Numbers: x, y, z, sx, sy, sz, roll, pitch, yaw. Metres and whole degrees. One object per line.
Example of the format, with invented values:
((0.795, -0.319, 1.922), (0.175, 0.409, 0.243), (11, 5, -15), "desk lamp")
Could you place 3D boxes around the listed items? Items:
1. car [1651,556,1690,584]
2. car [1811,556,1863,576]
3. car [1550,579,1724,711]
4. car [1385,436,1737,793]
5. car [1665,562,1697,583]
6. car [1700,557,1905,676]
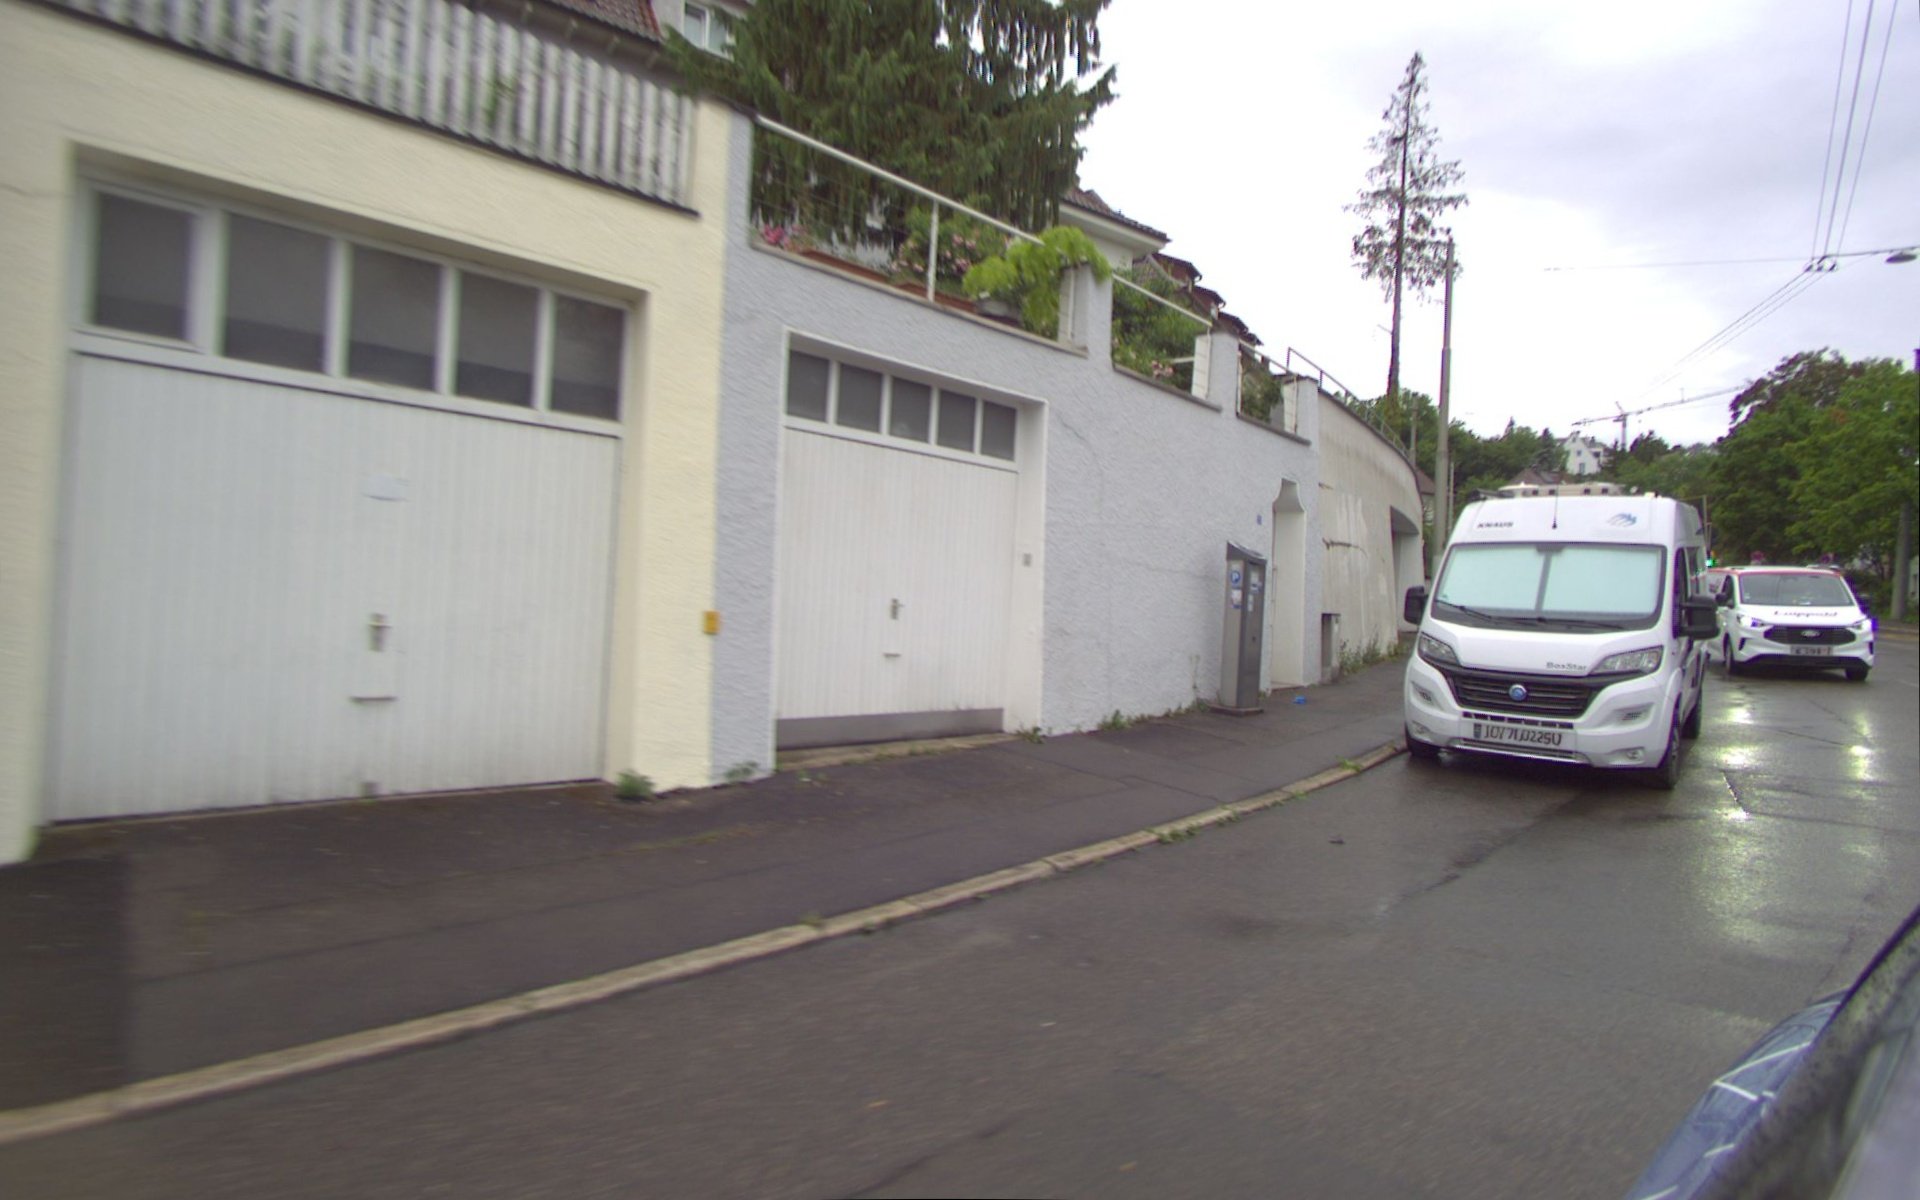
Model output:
((53.428, -2.273, 76.032), (1.803, 1.950, 4.510), (6, 6, 41), "car")
((87.149, -3.353, 100.550), (4.369, 1.822, 1.816), (0, 4, -18), "car")
((9.636, 0.495, 14.402), (1.749, 1.514, 4.131), (4, 3, 35), "car")
((6.247, -0.016, 10.102), (2.097, 2.573, 5.540), (4, 4, 39), "car")
((57.459, -2.209, 80.651), (1.575, 1.471, 3.412), (6, 7, 43), "car")
((15.604, 0.223, 19.048), (2.024, 1.963, 4.472), (0, 1, 27), "car")
